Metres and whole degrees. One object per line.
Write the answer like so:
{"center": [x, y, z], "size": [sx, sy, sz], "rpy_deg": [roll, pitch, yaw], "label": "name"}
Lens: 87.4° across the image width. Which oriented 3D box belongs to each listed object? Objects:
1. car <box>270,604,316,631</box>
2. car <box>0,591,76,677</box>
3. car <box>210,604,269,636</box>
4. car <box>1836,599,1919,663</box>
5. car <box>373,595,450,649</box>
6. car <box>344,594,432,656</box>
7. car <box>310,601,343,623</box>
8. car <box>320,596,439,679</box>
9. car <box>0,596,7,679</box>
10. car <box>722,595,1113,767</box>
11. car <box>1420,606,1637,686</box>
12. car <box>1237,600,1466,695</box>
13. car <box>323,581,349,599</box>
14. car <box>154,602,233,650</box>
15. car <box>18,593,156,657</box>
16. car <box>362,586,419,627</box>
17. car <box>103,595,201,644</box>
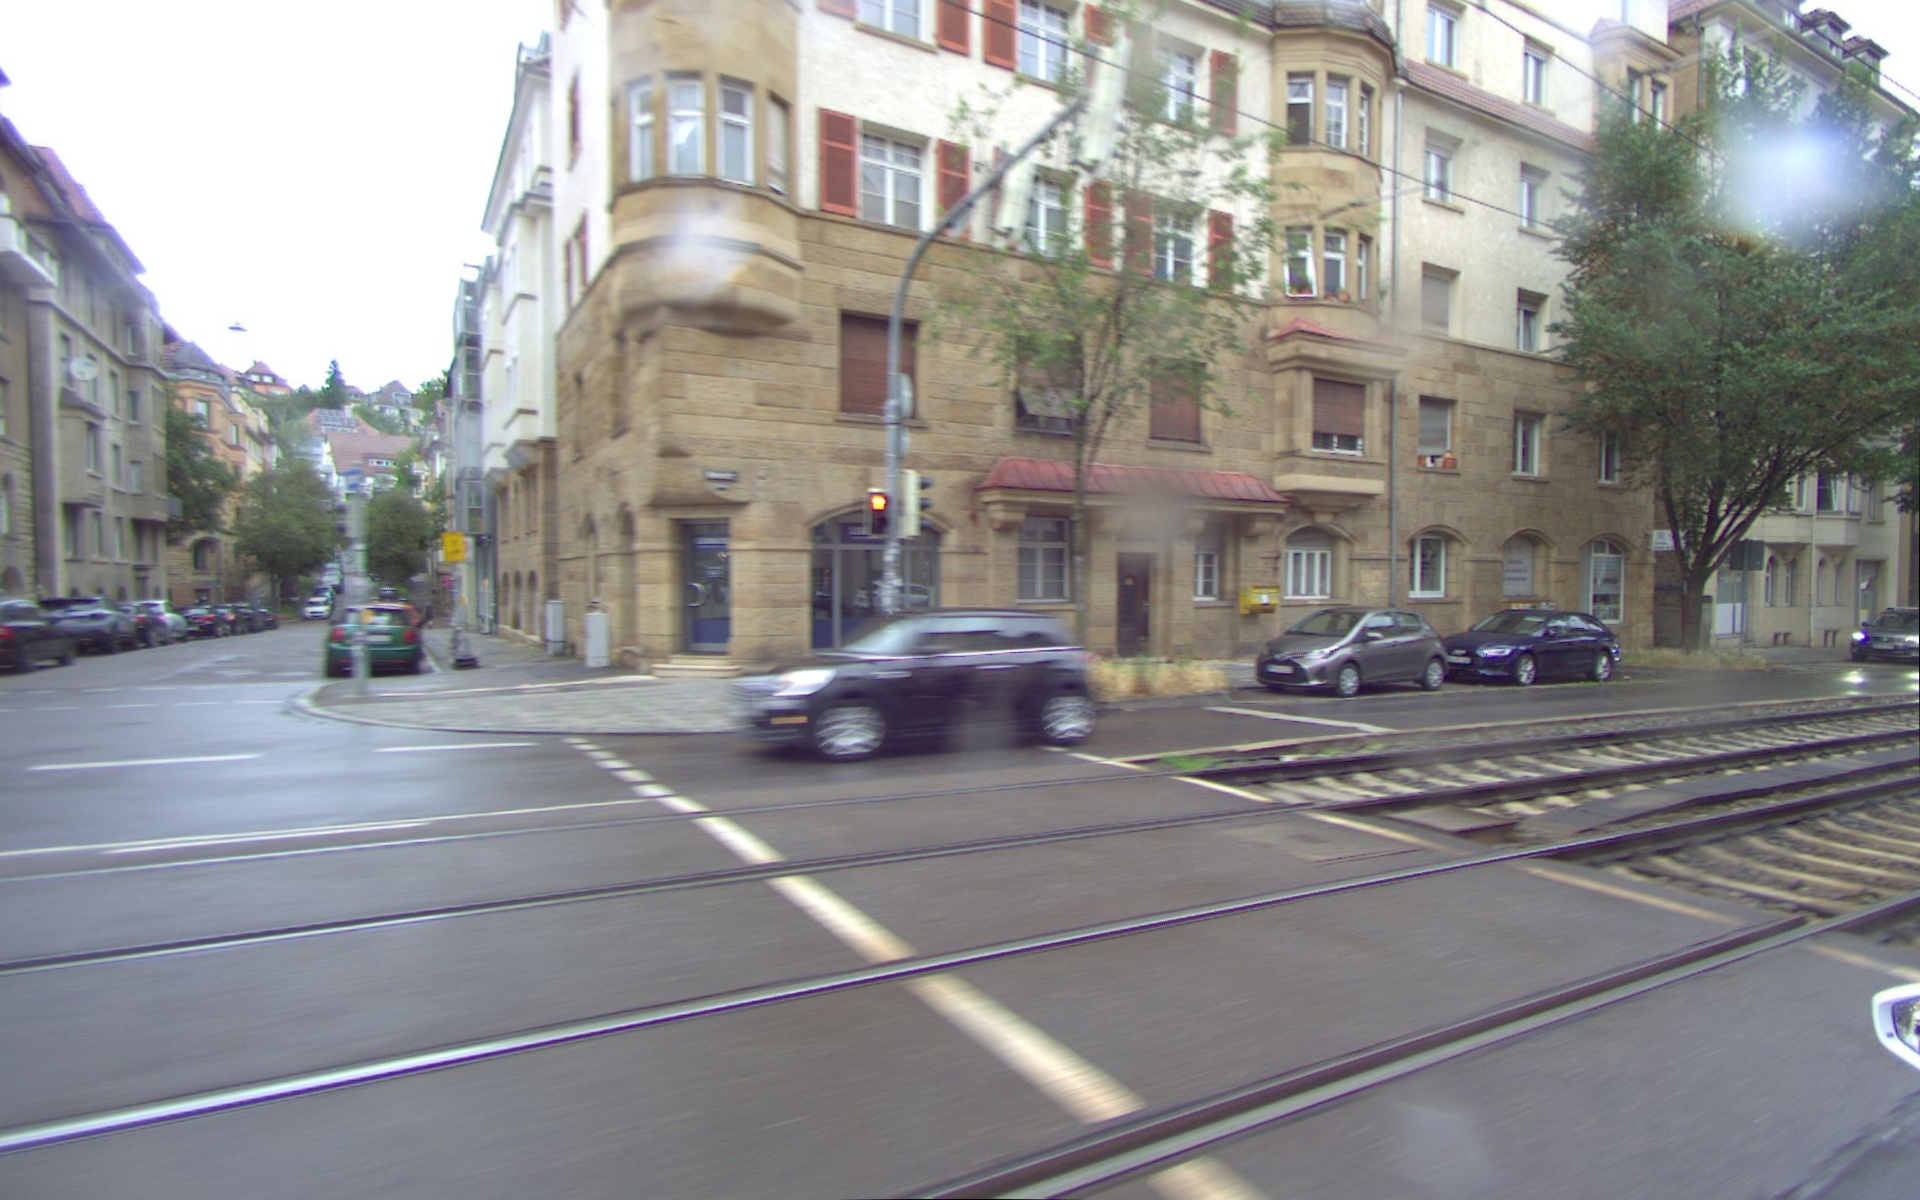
{"center": [-41.283, 1.069, 62.246], "size": [1.976, 1.595, 3.969], "rpy_deg": [2, -1, -29], "label": "car"}
{"center": [-19.404, 0.623, 20.091], "size": [1.979, 1.595, 3.964], "rpy_deg": [2, -1, -33], "label": "car"}
{"center": [-37.528, 1.031, 52.398], "size": [1.976, 1.595, 3.969], "rpy_deg": [2, -1, -29], "label": "car"}
{"center": [29.629, 0.935, 31.437], "size": [4.724, 1.765, 1.942], "rpy_deg": [0, 3, -32], "label": "car"}
{"center": [-17.421, 0.674, 31.939], "size": [1.976, 1.595, 3.969], "rpy_deg": [2, -1, -29], "label": "car"}
{"center": [-15.911, 0.655, 28.045], "size": [1.976, 1.595, 3.969], "rpy_deg": [2, -1, -29], "label": "car"}
{"center": [-48.521, 0.896, 76.990], "size": [1.977, 1.595, 3.966], "rpy_deg": [2, -1, -31], "label": "car"}
{"center": [-12.418, 0.734, 21.391], "size": [1.978, 1.595, 3.964], "rpy_deg": [2, -1, -32], "label": "car"}
{"center": [-17.202, 0.654, 16.168], "size": [1.726, 1.486, 3.969], "rpy_deg": [2, -1, -29], "label": "car"}
{"center": [-0.393, 0.734, 10.295], "size": [3.690, 1.482, 1.646], "rpy_deg": [1, -1, -30], "label": "car"}
{"center": [11.843, 0.935, 20.821], "size": [4.923, 1.479, 1.771], "rpy_deg": [2, -1, -32], "label": "car"}
{"center": [7.087, 0.825, 18.082], "size": [4.129, 1.549, 1.681], "rpy_deg": [2, -1, -32], "label": "car"}
{"center": [-57.585, -0.935, 92.763], "size": [1.977, 1.595, 3.966], "rpy_deg": [2, -1, -31], "label": "car"}
{"center": [-32.514, 1.072, 42.740], "size": [2.046, 1.932, 3.969], "rpy_deg": [2, -1, -29], "label": "car"}
{"center": [-23.538, 0.647, 27.260], "size": [1.976, 1.595, 3.969], "rpy_deg": [2, -1, -29], "label": "car"}
{"center": [-24.075, 0.275, 42.569], "size": [1.976, 1.595, 3.969], "rpy_deg": [2, -1, -29], "label": "car"}
{"center": [-28.330, 0.673, 35.364], "size": [1.976, 1.595, 3.969], "rpy_deg": [2, -1, -29], "label": "car"}
